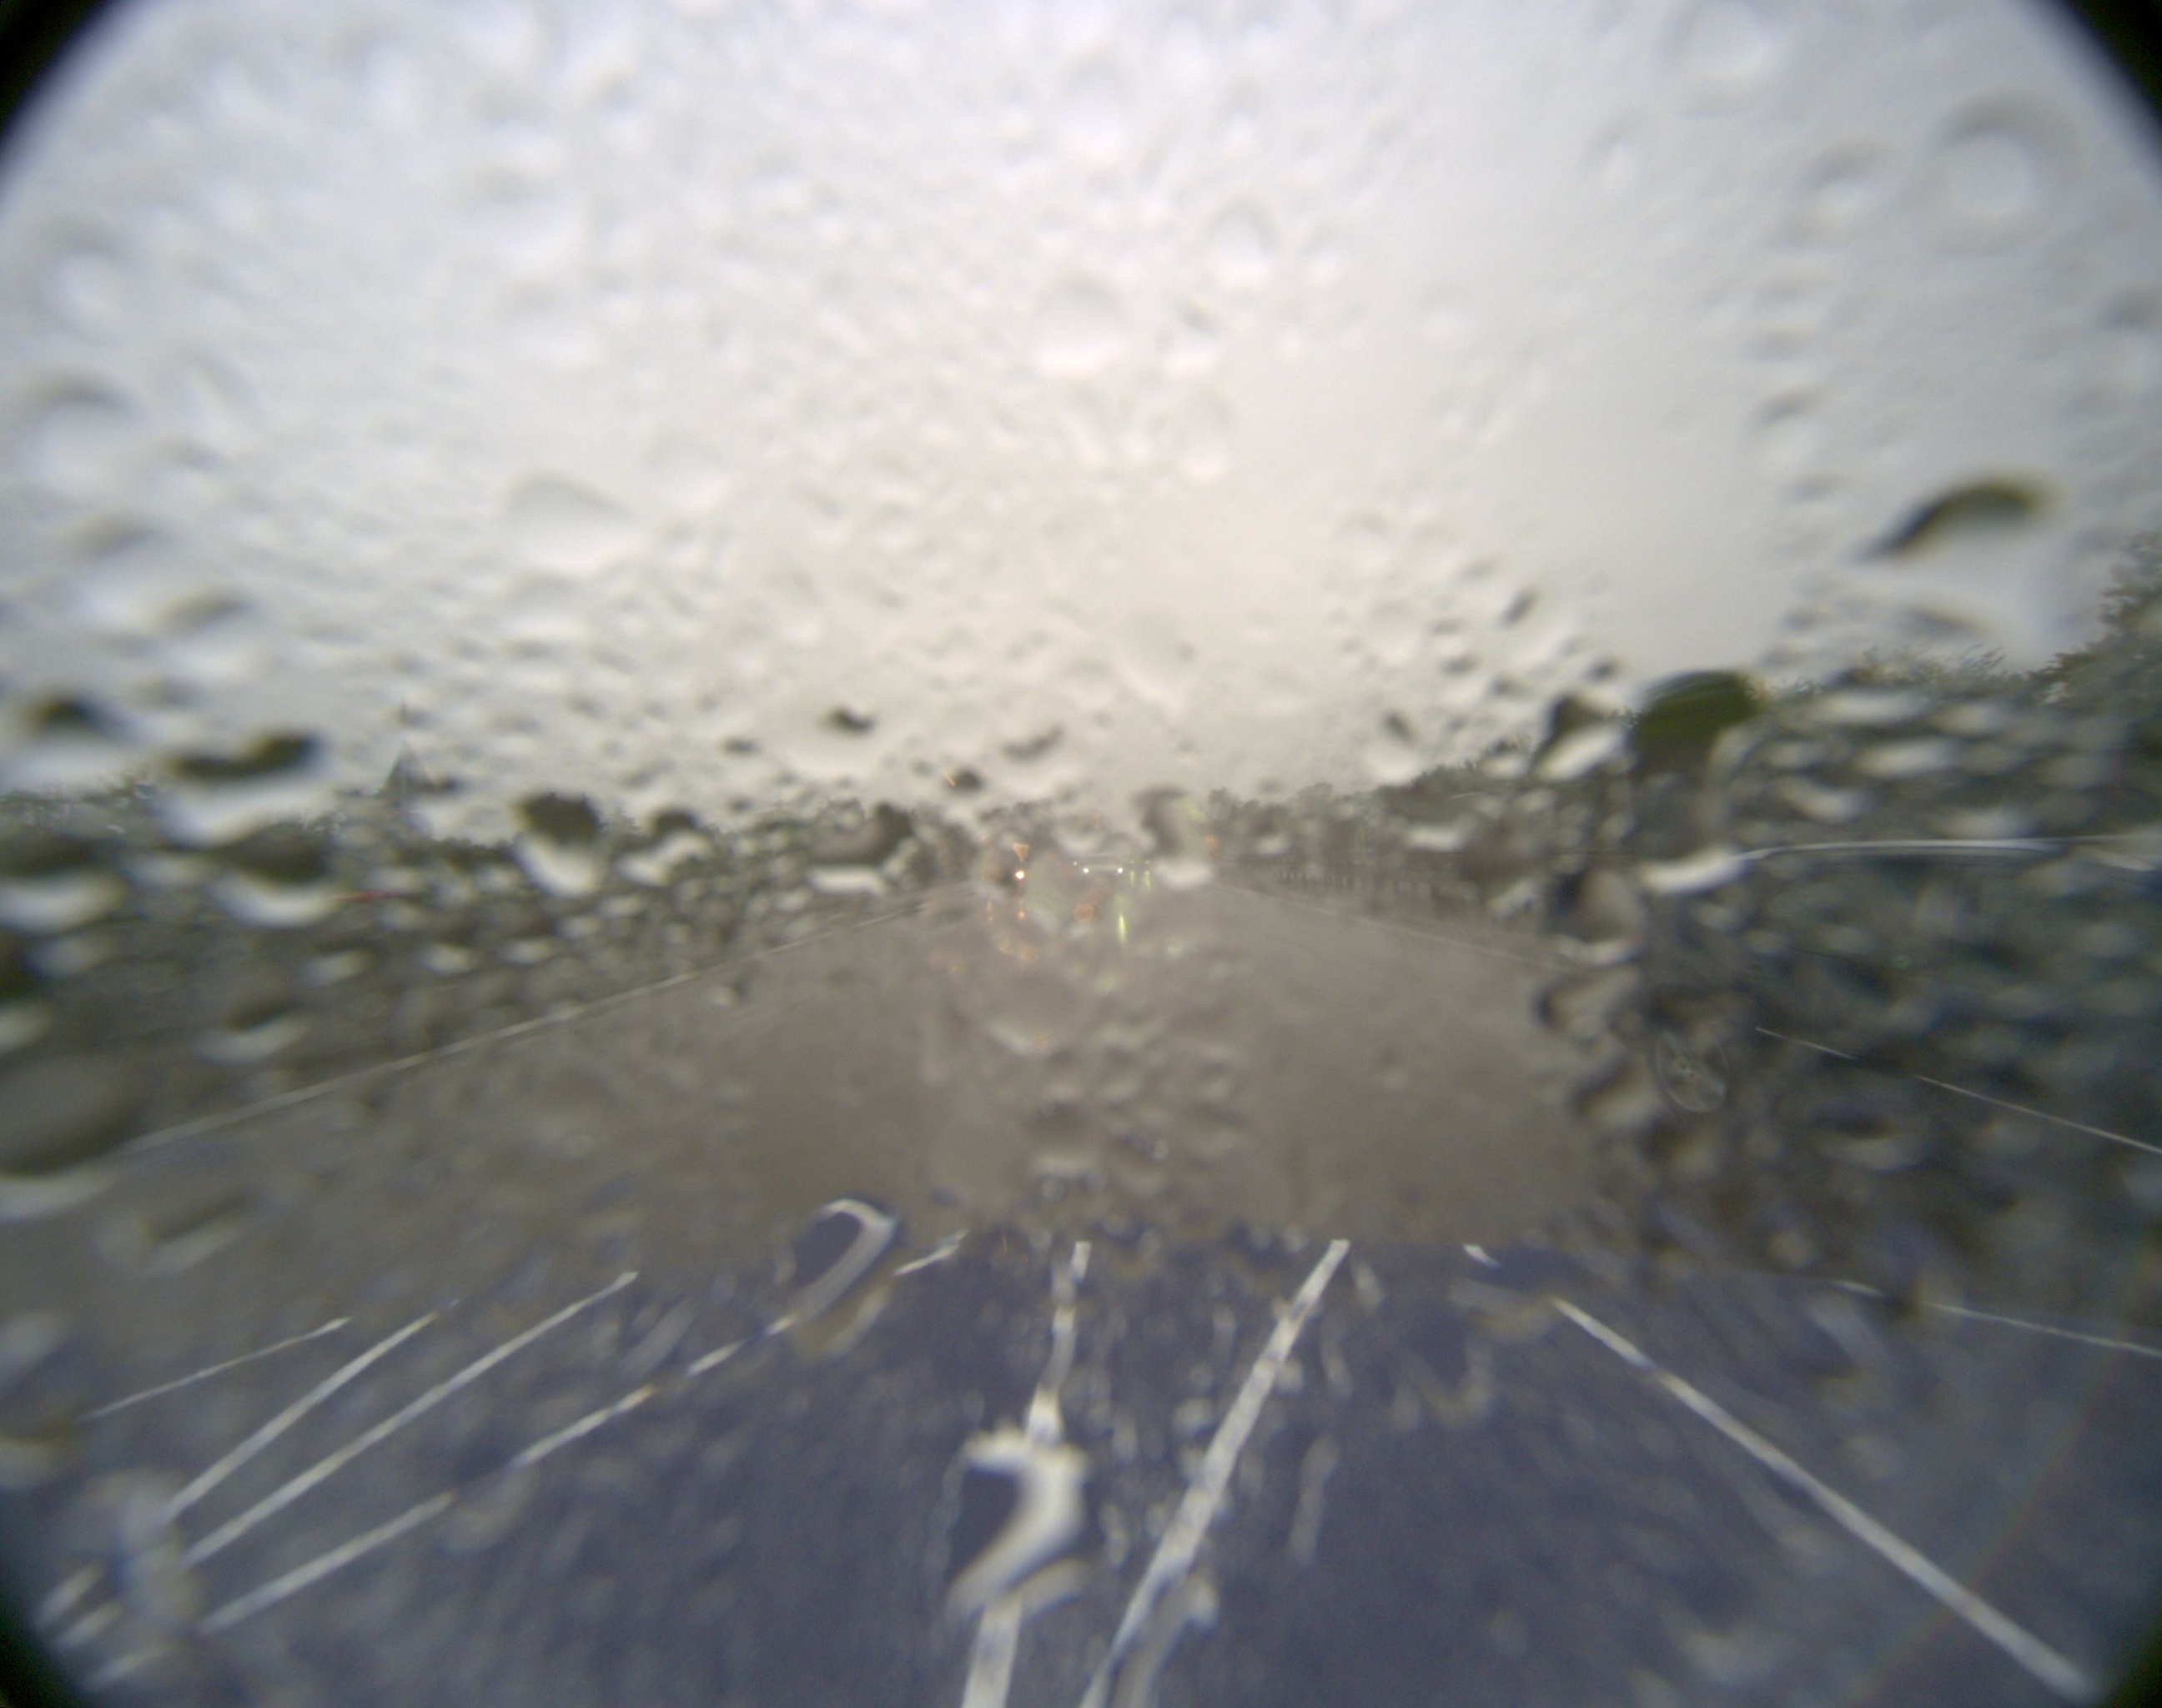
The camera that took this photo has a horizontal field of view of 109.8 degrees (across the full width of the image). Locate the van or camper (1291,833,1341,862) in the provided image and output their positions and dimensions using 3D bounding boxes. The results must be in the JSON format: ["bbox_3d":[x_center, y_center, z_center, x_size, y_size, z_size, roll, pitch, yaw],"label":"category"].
[{"bbox_3d":[17.088,-0.469,55.616,1.998,2.002,5.671,-2,0,2],"label":"van or camper"}]

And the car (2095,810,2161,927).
[{"bbox_3d":[14.762,0.165,8.366,1.854,1.506,4.000,-2,0,1],"label":"car"}]

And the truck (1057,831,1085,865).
[{"bbox_3d":[-1.135,-0.725,92.888,2.755,4.055,6.484,-1,0,4],"label":"truck"}]

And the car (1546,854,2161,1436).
[{"bbox_3d":[3.890,0.781,2.044,2.059,1.477,5.157,-2,0,0],"label":"car"}]

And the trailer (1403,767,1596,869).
[{"bbox_3d":[22.318,-1.700,41.962,3.879,4.668,12.242,-2,0,0],"label":"trailer"}]

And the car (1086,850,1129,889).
[{"bbox_3d":[1.209,0.627,33.852,1.751,1.545,4.090,-2,0,2],"label":"car"}]

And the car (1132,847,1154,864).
[{"bbox_3d":[6.196,0.150,76.222,1.900,1.533,4.090,-2,0,2],"label":"car"}]

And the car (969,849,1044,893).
[{"bbox_3d":[-3.220,0.680,34.299,2.463,1.736,5.720,-2,0,3],"label":"car"}]

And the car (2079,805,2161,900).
[{"bbox_3d":[20.618,-0.062,12.942,1.998,1.724,4.000,-2,0,1],"label":"car"}]

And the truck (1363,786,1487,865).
[{"bbox_3d":[22.393,-1.699,50.334,3.845,4.612,9.492,-2,0,0],"label":"truck"}]
